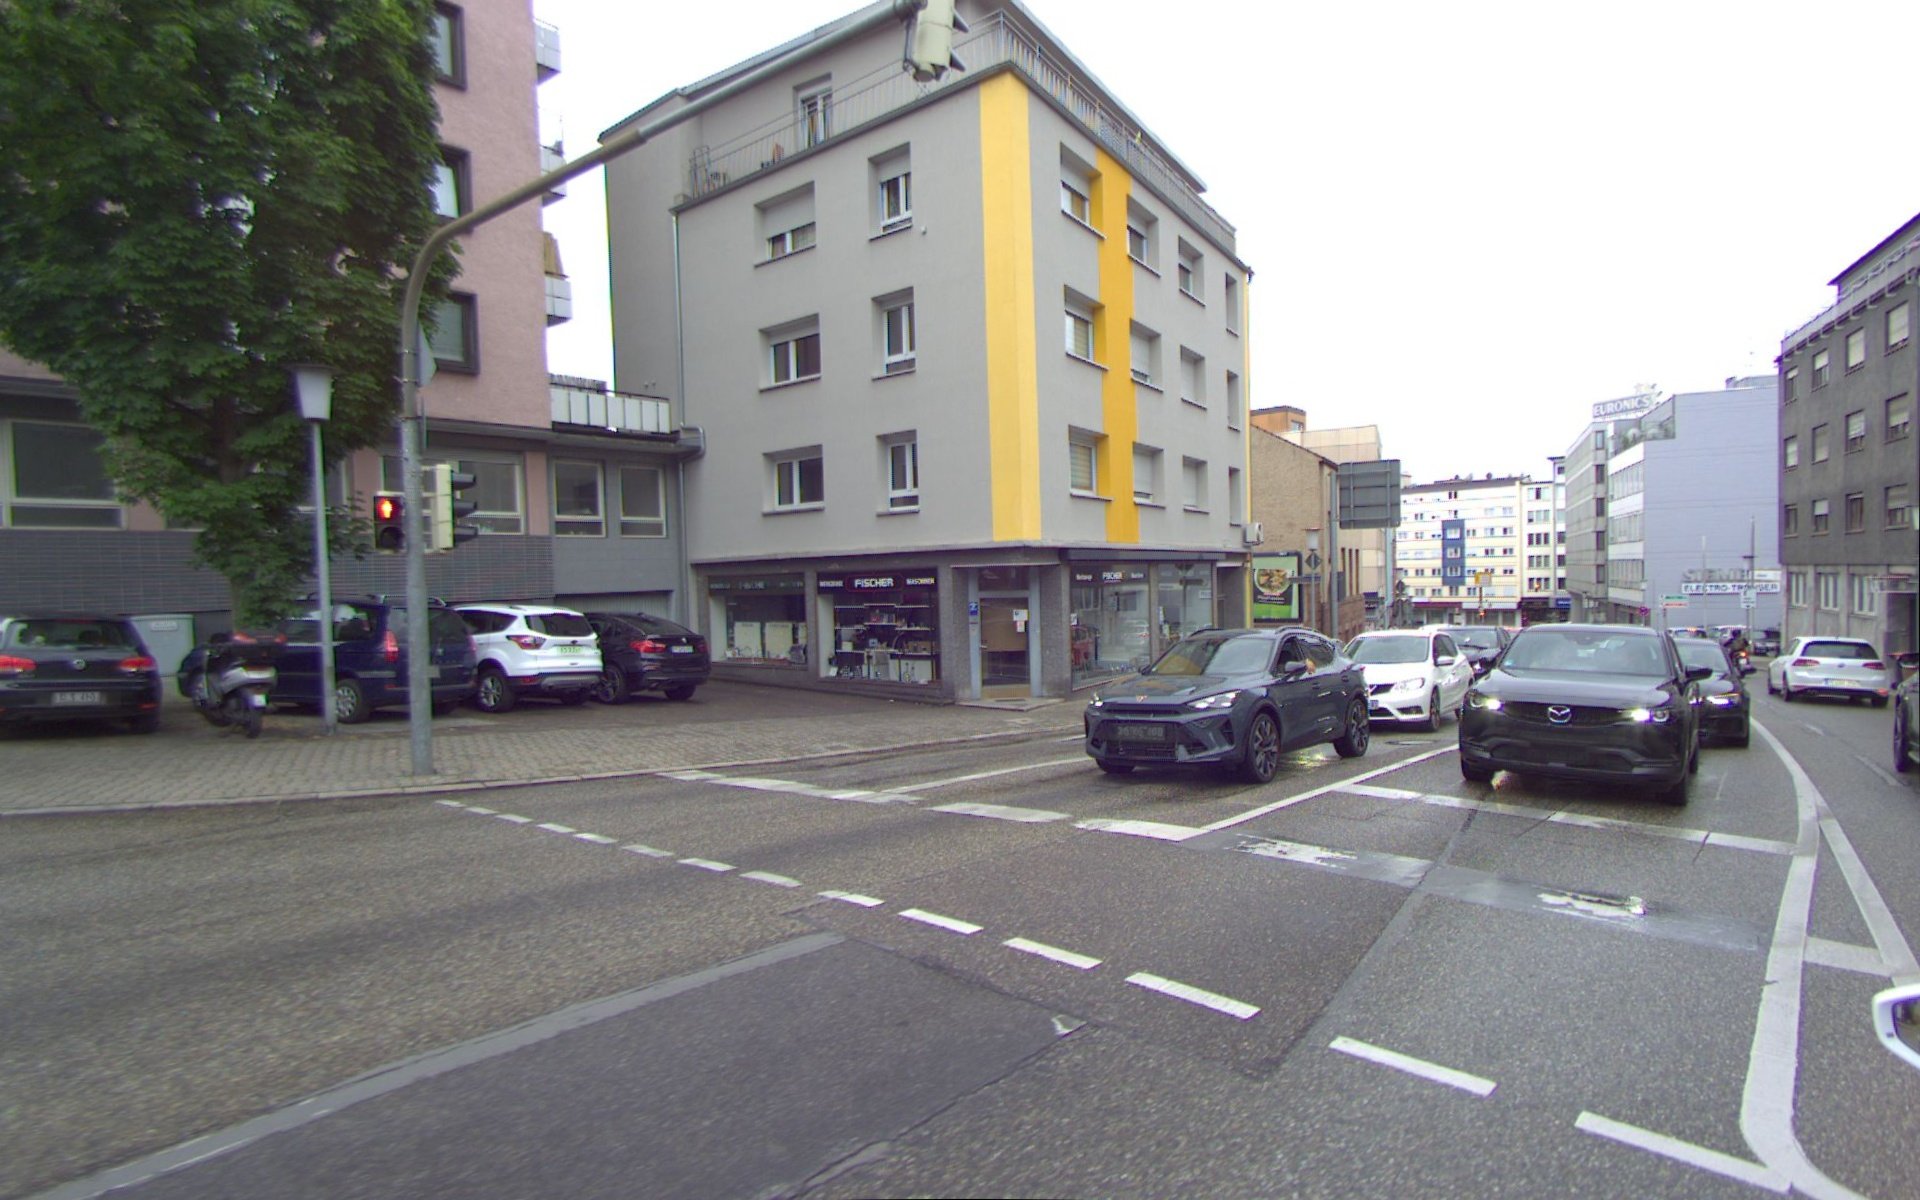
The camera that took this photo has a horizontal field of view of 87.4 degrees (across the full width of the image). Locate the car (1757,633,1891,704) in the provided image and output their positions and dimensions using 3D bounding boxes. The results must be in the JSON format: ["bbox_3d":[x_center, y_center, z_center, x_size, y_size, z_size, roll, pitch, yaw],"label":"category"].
[{"bbox_3d":[19.861,1.514,23.271,1.805,1.481,4.366,-1,-2,34],"label":"car"}]

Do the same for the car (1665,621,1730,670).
[{"bbox_3d":[32.888,1.996,44.869,1.726,1.805,3.569,1,4,27],"label":"car"}]

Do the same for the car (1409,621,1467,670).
[{"bbox_3d":[19.494,1.845,40.897,1.703,1.854,4.052,-2,-3,31],"label":"car"}]

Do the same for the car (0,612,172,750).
[{"bbox_3d":[-11.591,0.909,12.730,3.939,1.378,1.730,2,0,40],"label":"car"}]

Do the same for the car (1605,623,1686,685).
[{"bbox_3d":[18.908,1.458,27.796,1.675,1.499,4.279,3,0,33],"label":"car"}]

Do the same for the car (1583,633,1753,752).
[{"bbox_3d":[10.398,1.225,14.675,1.784,1.433,4.362,0,-2,37],"label":"car"}]

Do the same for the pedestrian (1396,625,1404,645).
[{"bbox_3d":[38.977,3.118,88.951,0.660,1.675,0.605,1,4,23],"label":"pedestrian"}]

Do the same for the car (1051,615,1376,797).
[{"bbox_3d":[2.952,0.954,10.983,1.797,1.497,4.359,0,0,39],"label":"car"}]

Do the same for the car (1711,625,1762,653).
[{"bbox_3d":[46.326,2.304,59.997,1.541,1.496,4.066,2,0,25],"label":"car"}]

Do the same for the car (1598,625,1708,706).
[{"bbox_3d":[14.924,1.344,21.764,1.782,1.541,4.549,0,-2,33],"label":"car"}]

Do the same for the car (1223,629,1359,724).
[{"bbox_3d":[6.876,1.467,20.647,1.711,1.617,3.766,0,1,34],"label":"car"}]

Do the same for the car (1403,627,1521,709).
[{"bbox_3d":[11.368,1.478,22.603,1.782,1.652,4.330,-3,-3,34],"label":"car"}]

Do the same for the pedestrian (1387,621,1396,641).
[{"bbox_3d":[38.257,2.769,89.106,0.727,1.675,0.605,1,4,23],"label":"pedestrian"}]

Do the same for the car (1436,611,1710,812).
[{"bbox_3d":[6.337,0.967,10.130,1.797,1.557,4.360,0,-2,39],"label":"car"}]

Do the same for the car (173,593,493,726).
[{"bbox_3d":[-9.478,0.838,15.220,4.260,1.751,1.774,1,-2,19],"label":"car"}]

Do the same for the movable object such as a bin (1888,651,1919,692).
[{"bbox_3d":[24.266,1.822,25.803,0.517,0.963,0.535,1,4,34],"label":"movable object such as a bin"}]

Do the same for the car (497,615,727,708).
[{"bbox_3d":[-6.523,1.094,18.793,3.927,1.516,1.859,1,-2,28],"label":"car"}]

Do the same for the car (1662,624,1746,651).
[{"bbox_3d":[47.084,2.369,63.633,3.919,1.514,1.734,2,-1,7],"label":"car"}]

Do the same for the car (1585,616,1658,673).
[{"bbox_3d":[22.256,1.474,33.936,1.780,1.727,4.552,3,0,31],"label":"car"}]

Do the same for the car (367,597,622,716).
[{"bbox_3d":[-7.929,0.906,17.107,3.925,1.817,1.859,0,-2,26],"label":"car"}]

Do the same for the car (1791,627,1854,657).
[{"bbox_3d":[46.284,2.222,53.997,1.771,1.496,4.476,1,-1,30],"label":"car"}]

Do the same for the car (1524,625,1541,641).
[{"bbox_3d":[61.470,3.560,107.896,1.499,1.569,3.103,1,0,27],"label":"car"}]

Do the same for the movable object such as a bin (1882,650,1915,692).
[{"bbox_3d":[24.579,1.854,26.320,0.517,0.994,0.535,1,4,34],"label":"movable object such as a bin"}]

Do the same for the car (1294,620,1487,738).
[{"bbox_3d":[7.129,1.156,16.384,1.785,1.563,4.359,0,0,39],"label":"car"}]

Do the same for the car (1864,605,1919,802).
[{"bbox_3d":[9.988,0.954,9.218,1.994,1.762,4.731,1,-1,36],"label":"car"}]

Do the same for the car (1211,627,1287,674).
[{"bbox_3d":[10.121,1.702,34.987,1.665,1.474,4.659,1,-1,27],"label":"car"}]

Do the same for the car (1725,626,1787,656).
[{"bbox_3d":[43.616,2.195,55.118,1.769,1.496,4.480,2,0,27],"label":"car"}]

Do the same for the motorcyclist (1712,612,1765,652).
[{"bbox_3d":[26.042,1.031,33.648,0.854,1.072,2.934,1,4,27],"label":"motorcyclist"}]

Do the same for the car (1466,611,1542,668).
[{"bbox_3d":[16.101,1.167,29.645,1.716,1.535,4.122,-2,-3,31],"label":"car"}]

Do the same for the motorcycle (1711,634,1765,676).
[{"bbox_3d":[26.012,1.798,33.637,0.854,1.072,2.934,1,4,27],"label":"motorcycle"}]

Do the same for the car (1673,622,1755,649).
[{"bbox_3d":[49.313,2.310,65.765,3.919,1.618,1.800,2,-1,7],"label":"car"}]

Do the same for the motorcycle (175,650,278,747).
[{"bbox_3d":[-9.104,1.190,12.448,1.764,1.046,0.452,1,1,34],"label":"motorcycle"}]
